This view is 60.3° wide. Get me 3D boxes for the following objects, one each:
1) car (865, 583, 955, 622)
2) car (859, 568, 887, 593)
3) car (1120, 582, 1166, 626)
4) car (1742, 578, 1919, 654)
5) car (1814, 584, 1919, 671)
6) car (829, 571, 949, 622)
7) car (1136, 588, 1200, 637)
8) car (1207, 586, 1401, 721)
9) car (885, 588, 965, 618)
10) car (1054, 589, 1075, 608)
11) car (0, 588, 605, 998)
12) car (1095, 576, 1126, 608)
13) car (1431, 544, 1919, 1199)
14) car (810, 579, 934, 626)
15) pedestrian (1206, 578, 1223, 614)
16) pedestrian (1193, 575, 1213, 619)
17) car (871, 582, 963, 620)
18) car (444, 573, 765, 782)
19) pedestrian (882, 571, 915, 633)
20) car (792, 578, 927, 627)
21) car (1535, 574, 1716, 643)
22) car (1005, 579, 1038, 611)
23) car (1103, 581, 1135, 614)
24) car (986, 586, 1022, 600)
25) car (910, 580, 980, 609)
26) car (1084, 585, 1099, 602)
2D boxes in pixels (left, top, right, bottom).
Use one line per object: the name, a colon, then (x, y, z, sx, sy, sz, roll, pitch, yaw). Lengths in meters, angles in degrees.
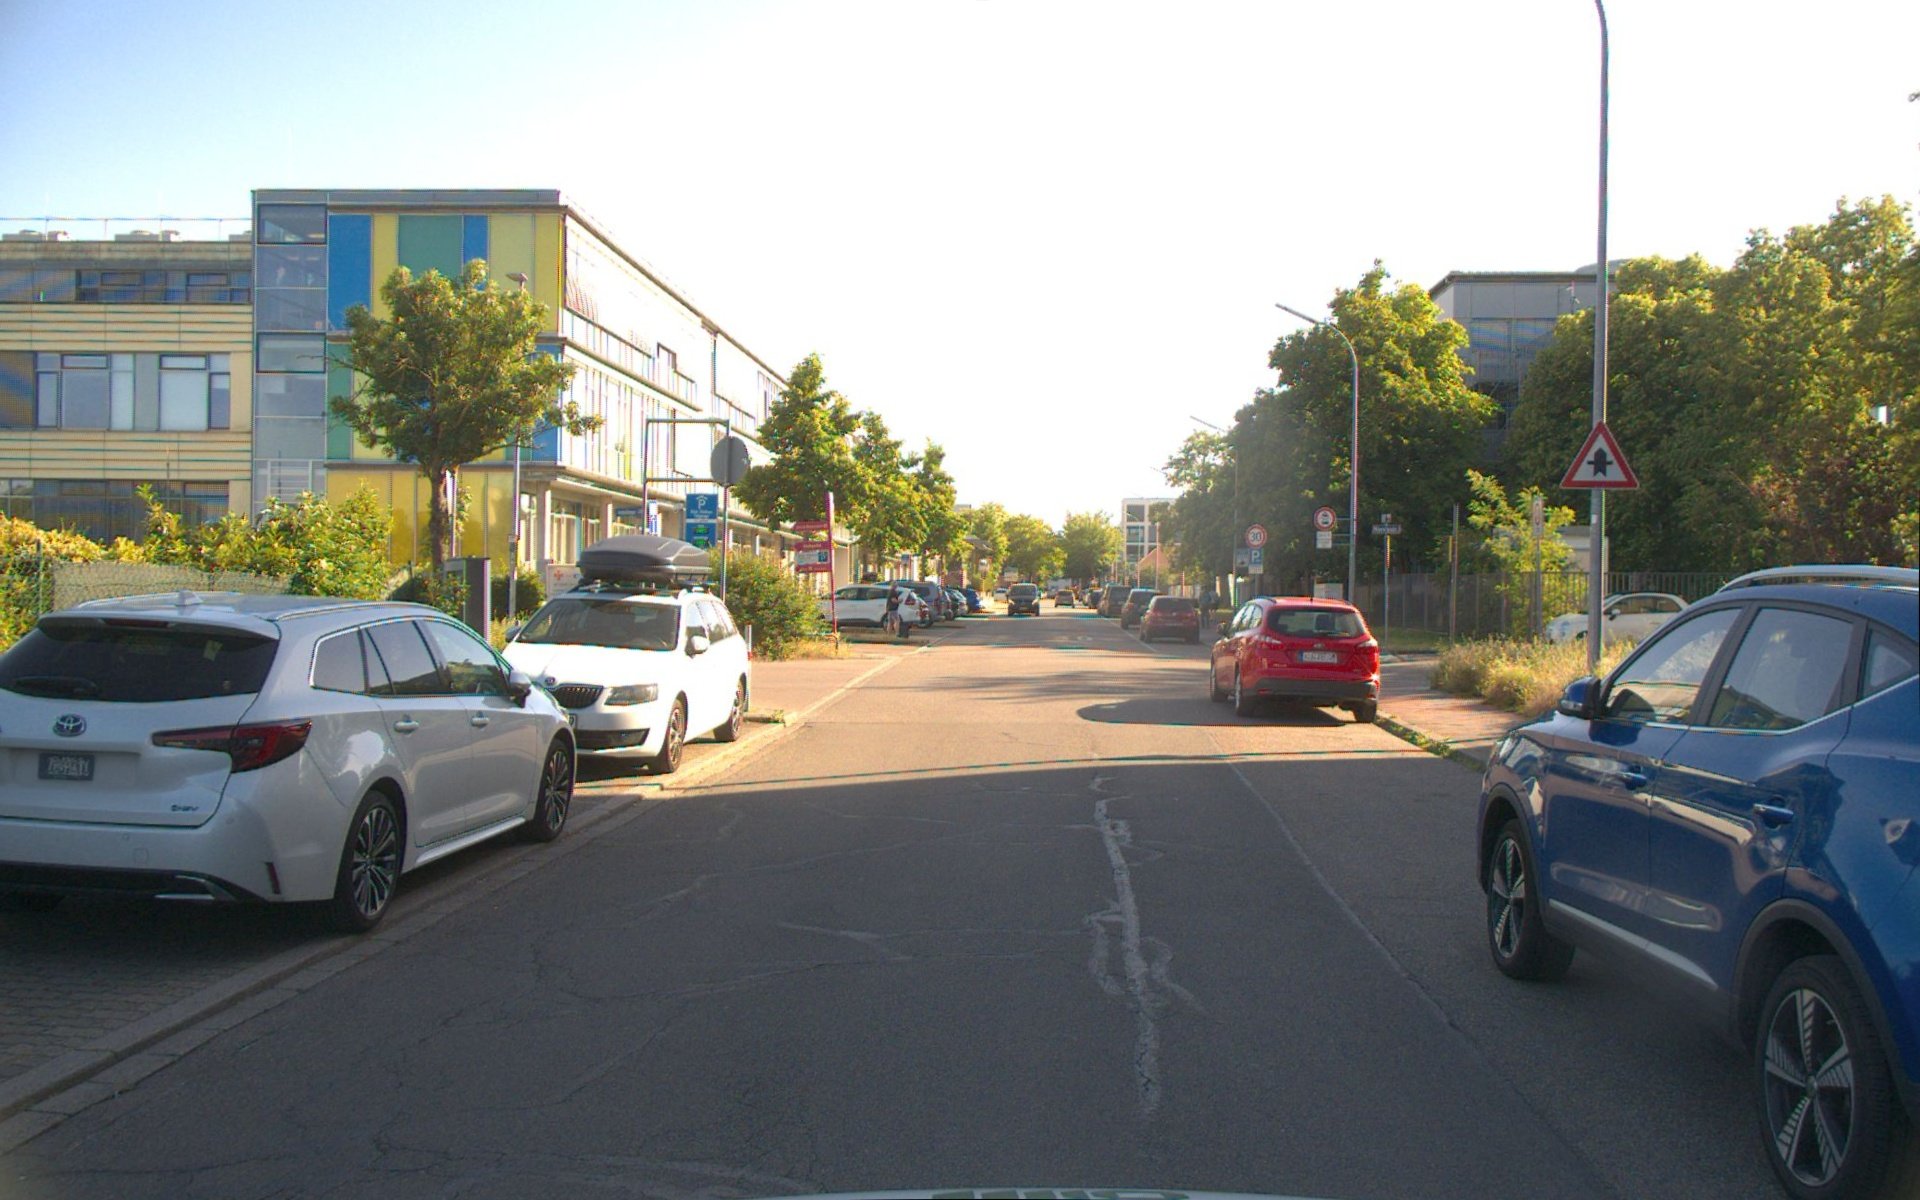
car: (-2.205, 0.107, 73.901, 3.905, 1.635, 1.872, 2, 0, -1)
car: (-7.288, -1.623, 138.856, 1.952, 2.049, 4.001, 0, -1, 3)
car: (7.740, 0.151, 70.214, 1.774, 1.695, 4.595, 1, 1, 4)
car: (19.856, 0.340, 36.827, 4.065, 1.665, 1.757, 0, 0, 4)
car: (17.012, 0.466, 29.000, 3.255, 1.484, 1.716, 0, 0, 8)
car: (-2.854, -0.150, 66.928, 4.643, 1.897, 1.828, 2, 1, 4)
car: (6.772, 0.376, 54.195, 1.684, 1.480, 4.654, 1, 0, 3)
car: (4.404, 0.615, 21.782, 1.781, 1.526, 4.454, 2, 0, 3)
car: (-1.747, 0.152, 82.594, 3.905, 1.382, 1.743, 2, 0, -1)
car: (8.720, -0.158, 138.440, 1.707, 1.570, 4.002, 1, 0, 3)
car: (-3.311, 0.703, 8.471, 1.710, 1.471, 4.543, 2, 1, 4)
car: (9.785, -0.542, 107.623, 1.835, 2.013, 4.002, -1, 0, 3)
car: (3.056, 0.719, 5.483, 1.779, 1.627, 4.629, 3, 0, 2)
car: (-3.248, 0.072, 61.293, 4.341, 1.527, 1.828, 2, 0, 4)
pedestrian: (12.268, -0.208, 79.707, 0.683, 1.690, 0.752, -2, 0, 3)
pedestrian: (10.022, -0.115, 68.296, 0.702, 1.788, 0.885, -2, 0, 4)
car: (-1.962, 0.049, 76.847, 4.160, 1.640, 2.048, 2, 0, -1)
car: (-3.000, 0.578, 14.964, 1.660, 1.540, 4.519, 2, 0, 3)
pedestrian: (-1.902, 0.068, 51.191, 0.839, 1.874, 0.826, 2, 0, 5)
car: (-3.536, 0.077, 58.608, 4.514, 1.680, 1.869, 0, 0, 7)
car: (14.974, 0.171, 37.352, 3.472, 1.512, 1.601, 0, 0, 4)
car: (3.729, -0.320, 100.062, 1.914, 1.900, 5.257, 0, 0, 3)
car: (9.152, -0.142, 95.146, 1.696, 1.862, 3.907, 0, 0, 4)
car: (4.932, -0.759, 183.100, 3.903, 1.546, 2.001, 0, -1, 4)
car: (-0.875, -0.355, 99.637, 4.128, 1.631, 1.872, 2, 0, -1)
car: (12.415, -0.592, 156.209, 1.406, 1.588, 3.043, 0, 0, 3)
